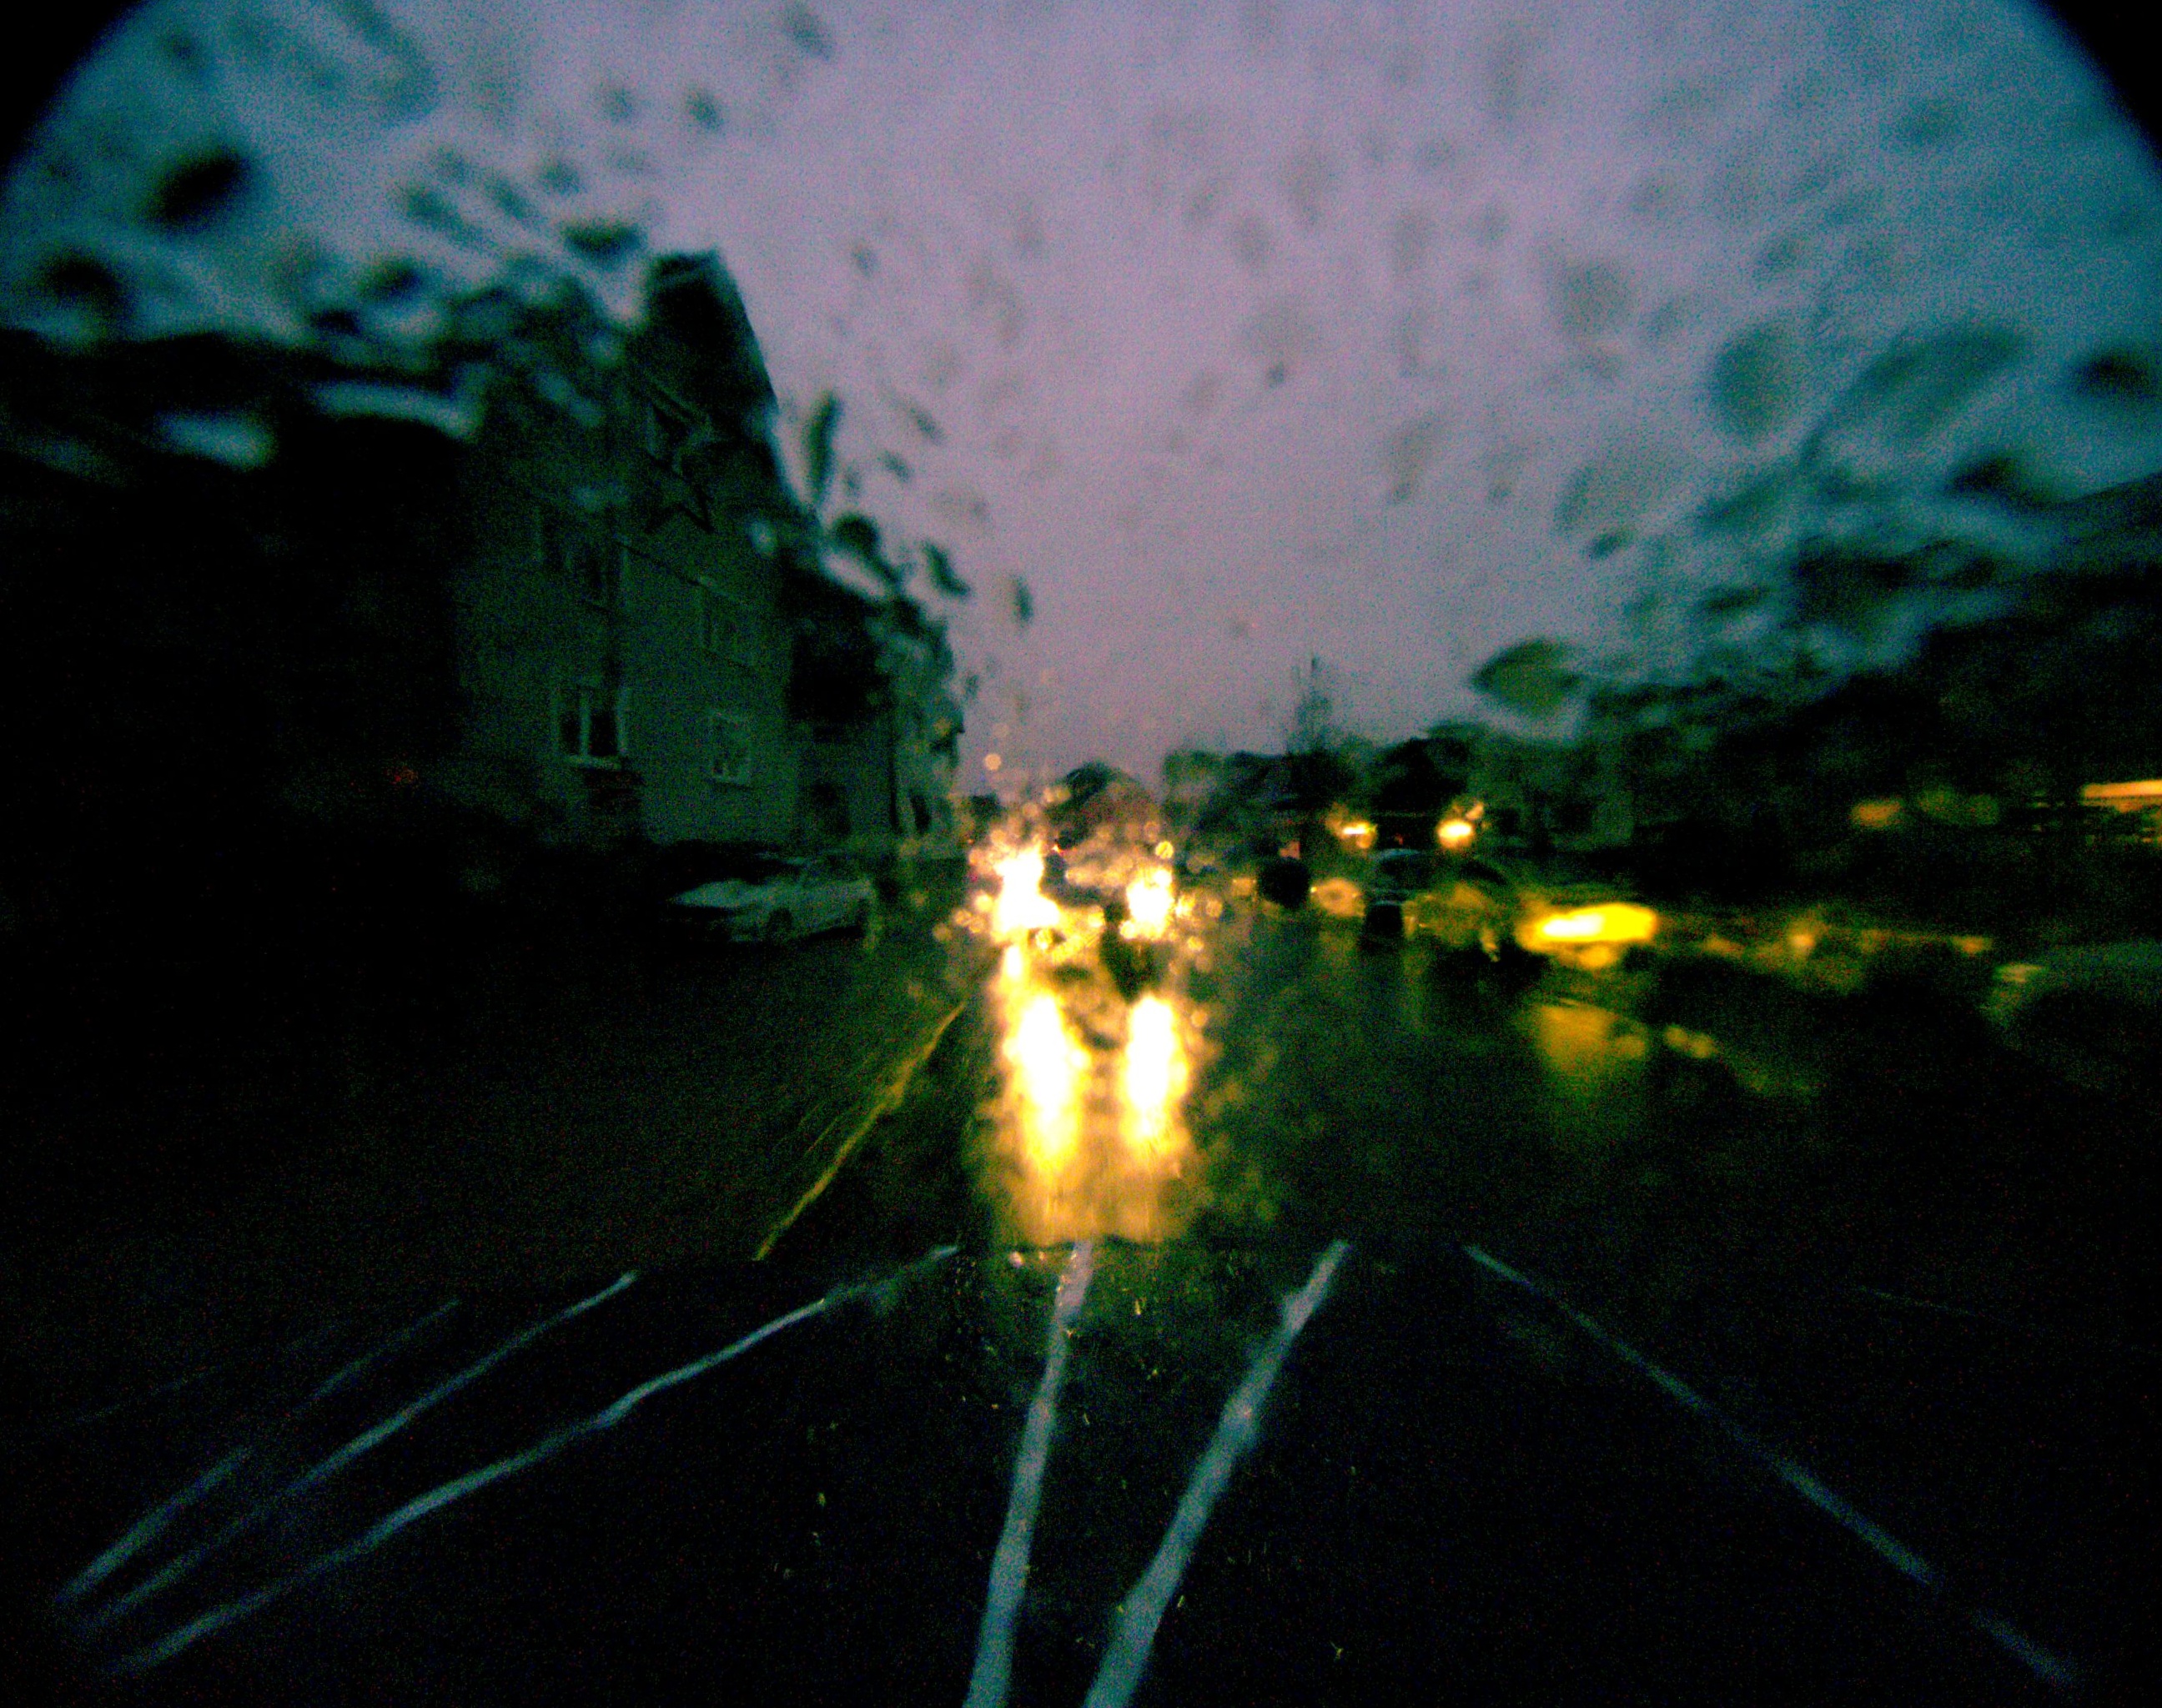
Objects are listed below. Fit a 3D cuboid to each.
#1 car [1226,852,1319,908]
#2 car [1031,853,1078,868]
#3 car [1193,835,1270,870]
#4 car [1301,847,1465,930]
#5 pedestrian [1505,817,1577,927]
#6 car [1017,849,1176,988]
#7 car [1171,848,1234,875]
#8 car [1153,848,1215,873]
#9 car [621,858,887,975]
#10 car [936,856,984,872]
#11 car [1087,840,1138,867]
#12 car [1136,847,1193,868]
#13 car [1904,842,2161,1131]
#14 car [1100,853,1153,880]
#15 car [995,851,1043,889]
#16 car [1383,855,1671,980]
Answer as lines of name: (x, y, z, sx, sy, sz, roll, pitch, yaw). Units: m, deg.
car: (5.998, 0.763, 24.270, 1.840, 1.526, 4.138, -2, 1, 0)
car: (-2.555, 0.615, 72.713, 4.005, 1.291, 1.996, -3, 1, -27)
car: (8.282, -0.093, 41.723, 3.993, 1.753, 1.435, -2, 1, 14)
car: (6.450, 0.663, 16.703, 1.880, 1.526, 3.670, -2, 1, -4)
pedestrian: (8.699, 0.340, 14.406, 0.902, 2.002, 0.791, -1, 0, 9)
car: (0.191, 0.827, 11.887, 1.999, 1.720, 3.999, -2, 1, 0)
car: (7.832, 0.490, 49.218, 3.839, 1.537, 2.001, -2, 1, 7)
car: (7.056, 0.441, 51.843, 3.994, 1.538, 2.001, -2, 1, 10)
car: (-5.213, 0.904, 13.013, 1.933, 1.477, 4.698, -2, 1, 8)
car: (-11.583, 0.931, 72.740, 4.249, 1.291, 1.997, -3, 1, -17)
car: (2.508, -0.052, 61.921, 3.997, 2.002, 2.000, -2, 1, 1)
car: (5.992, 0.228, 54.796, 3.995, 1.291, 2.001, -2, 1, 5)
car: (6.650, 0.718, 3.219, 1.789, 1.480, 4.182, -2, 1, 0)
car: (2.660, 0.704, 45.235, 1.984, 1.438, 3.909, -3, 0, -14)
car: (-3.615, 0.860, 43.702, 2.001, 2.002, 3.995, -3, 1, -15)
car: (6.232, 0.766, 11.316, 1.698, 1.423, 4.377, -2, 0, 0)
